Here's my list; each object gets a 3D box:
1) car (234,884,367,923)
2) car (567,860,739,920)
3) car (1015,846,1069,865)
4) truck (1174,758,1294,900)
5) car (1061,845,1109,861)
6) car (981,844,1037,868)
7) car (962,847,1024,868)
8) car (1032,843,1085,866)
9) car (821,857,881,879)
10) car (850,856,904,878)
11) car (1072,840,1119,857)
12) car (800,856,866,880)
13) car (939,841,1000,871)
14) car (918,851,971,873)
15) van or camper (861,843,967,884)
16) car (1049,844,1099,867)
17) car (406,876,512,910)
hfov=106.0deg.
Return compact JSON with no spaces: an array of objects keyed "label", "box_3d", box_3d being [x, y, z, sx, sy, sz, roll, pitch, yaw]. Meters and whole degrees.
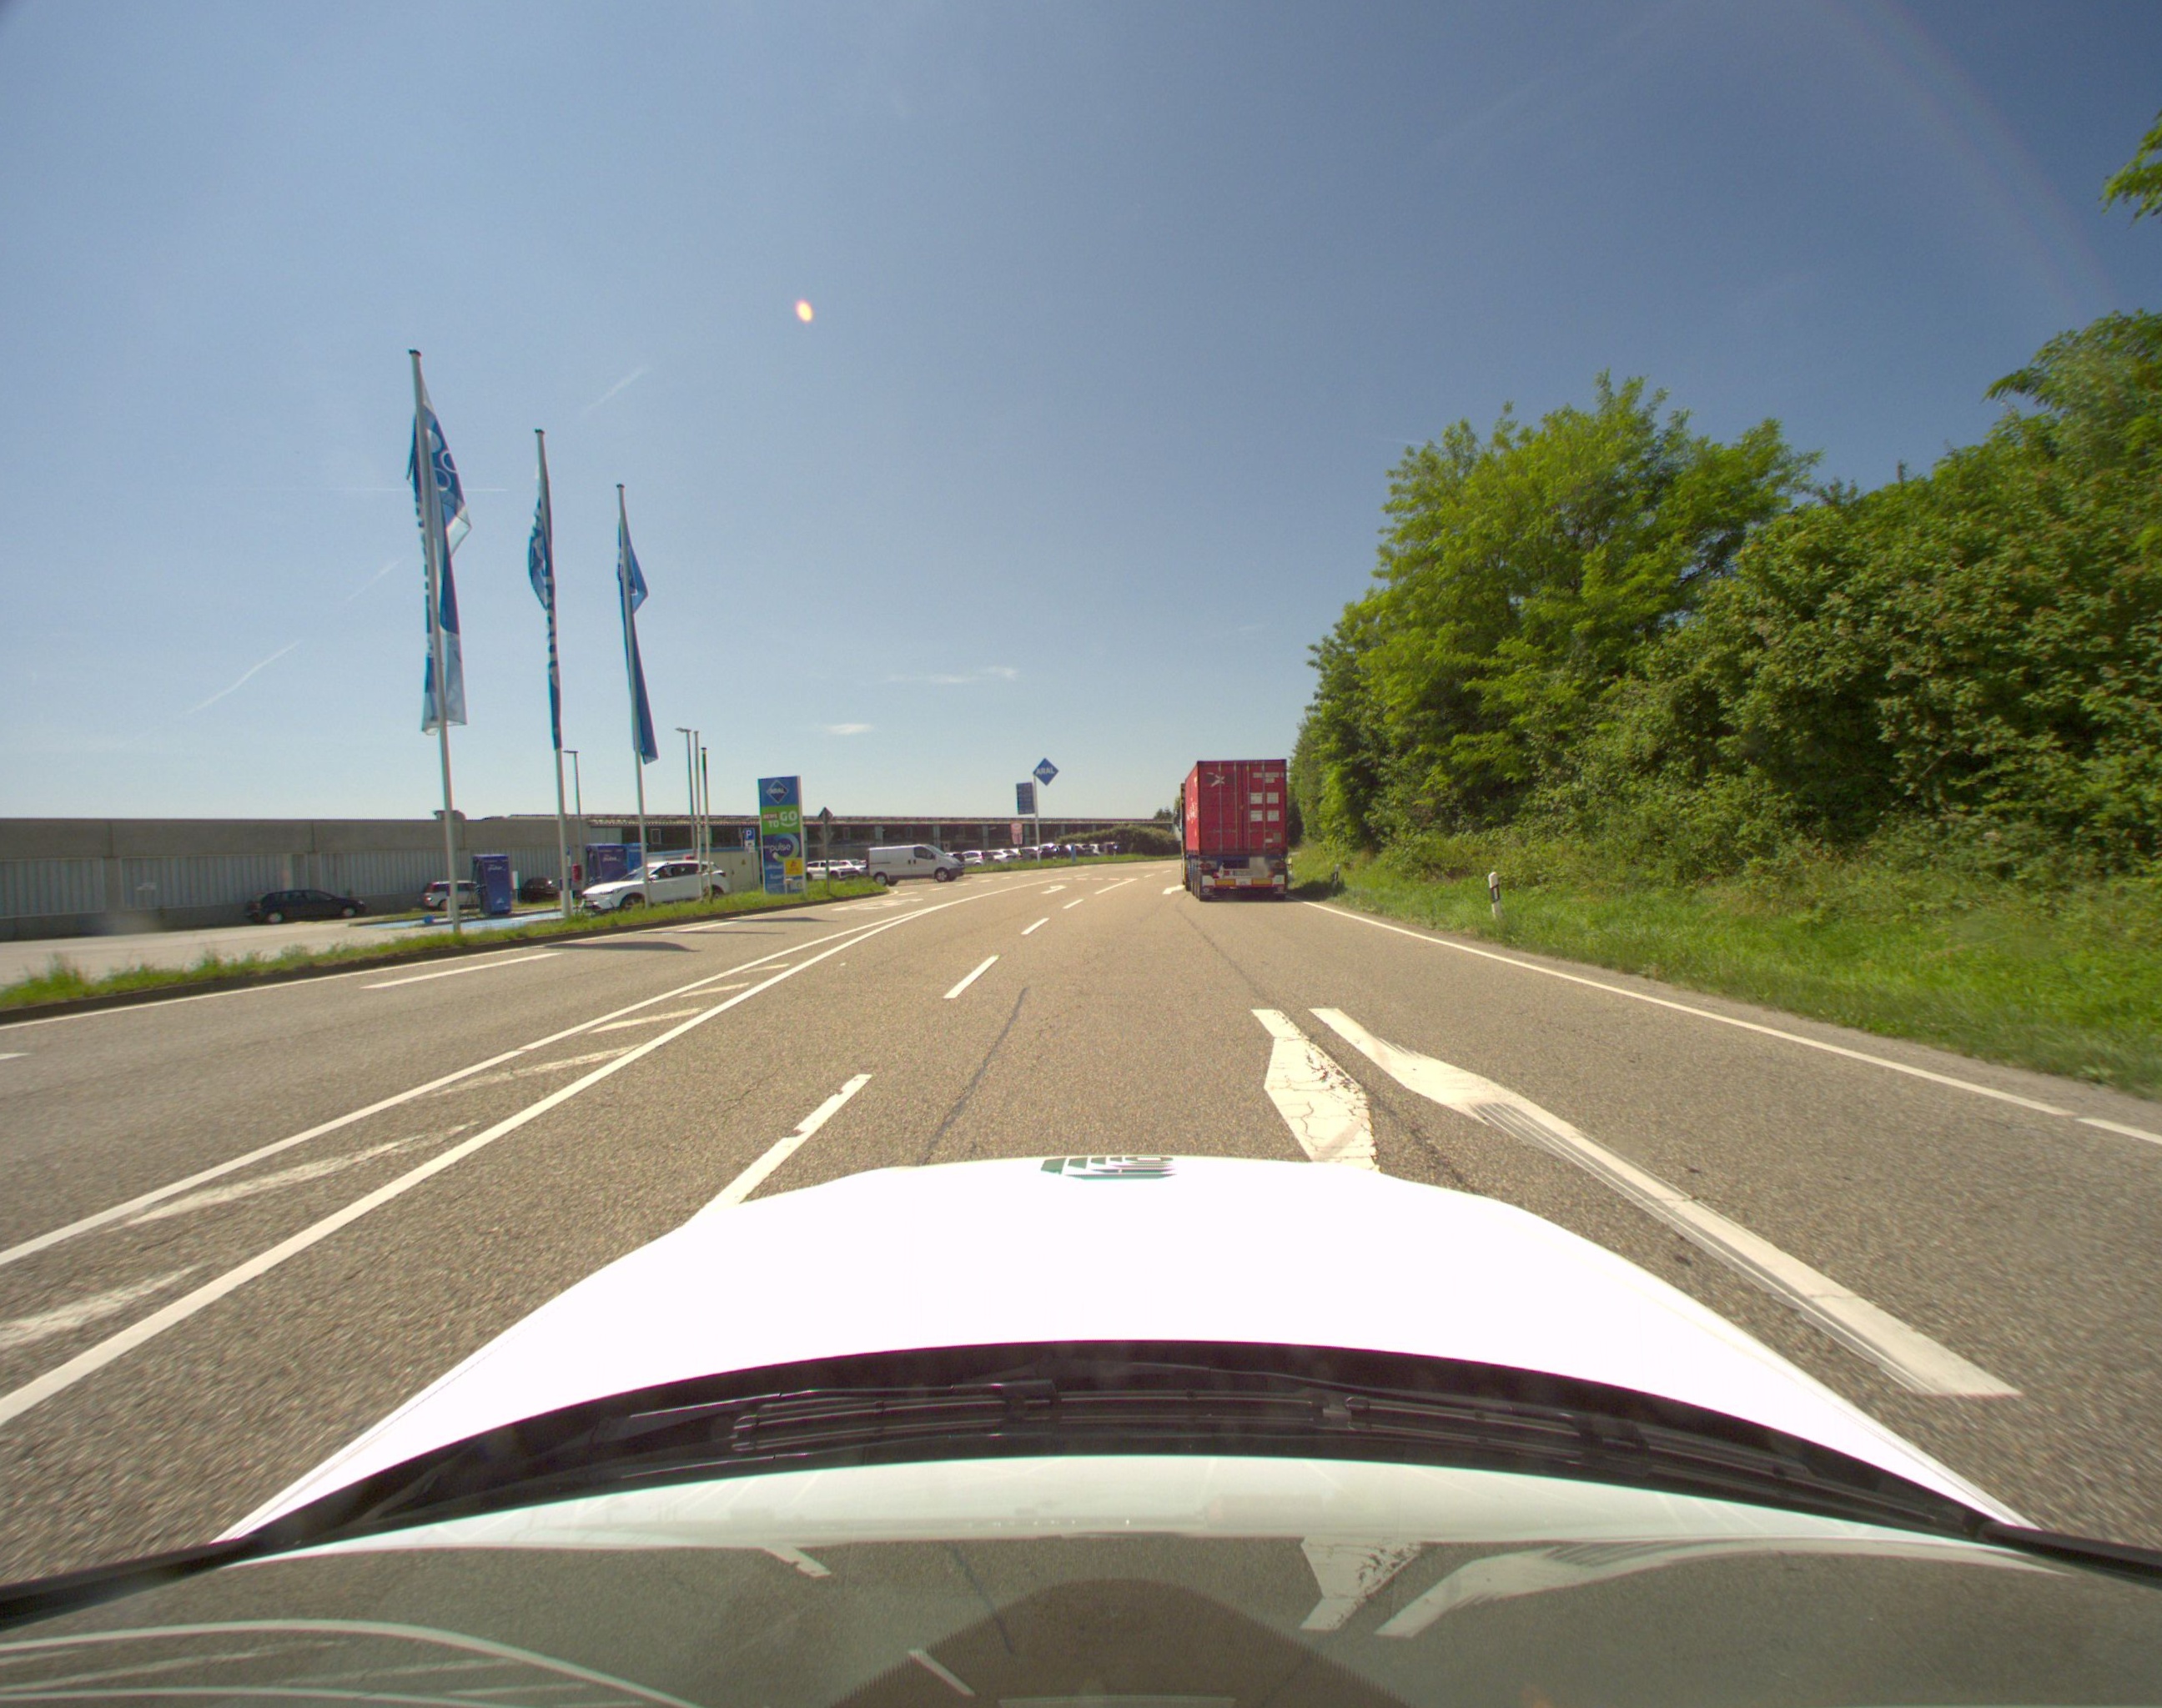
[{"label":"car","box_3d":[-34.881,2.169,36.516,1.737,1.442,3.924,-2,0,28]},{"label":"car","box_3d":[-13.625,1.095,26.211,1.844,1.712,4.548,-2,-1,34]},{"label":"car","box_3d":[-3.212,0.118,66.859,3.949,1.332,2.013,-3,0,30]},{"label":"truck","box_3d":[4.894,-0.757,28.689,2.636,3.806,13.375,1,1,4]},{"label":"car","box_3d":[0.366,-0.097,75.865,3.949,1.317,1.844,-3,0,27]},{"label":"car","box_3d":[-5.693,0.158,64.669,3.949,1.750,1.947,-3,0,30]},{"label":"car","box_3d":[-6.705,0.278,62.178,4.196,1.359,2.012,-3,0,28]},{"label":"car","box_3d":[-1.933,0.074,68.822,3.949,1.750,2.013,-3,0,30]},{"label":"car","box_3d":[-17.811,1.082,62.994,4.085,1.503,2.012,-3,0,27]},{"label":"car","box_3d":[-16.296,1.042,65.062,3.949,1.582,1.829,-2,-1,29]},{"label":"car","box_3d":[1.387,-0.532,77.785,3.949,1.362,1.831,-3,0,27]},{"label":"car","box_3d":[-18.535,1.068,60.779,4.536,1.503,2.012,-3,0,27]},{"label":"car","box_3d":[-8.247,0.145,60.246,3.949,2.013,2.012,-3,0,28]},{"label":"car","box_3d":[-9.788,0.582,58.305,3.410,1.441,1.573,-3,0,27]},{"label":"van or camper","box_3d":[-8.355,0.461,40.928,4.826,1.905,1.906,-1,-1,3]},{"label":"car","box_3d":[-0.636,0.135,73.615,3.949,1.750,2.013,-3,0,30]},{"label":"car","box_3d":[-31.776,1.974,41.678,1.737,1.442,3.925,-2,0,34]}]
